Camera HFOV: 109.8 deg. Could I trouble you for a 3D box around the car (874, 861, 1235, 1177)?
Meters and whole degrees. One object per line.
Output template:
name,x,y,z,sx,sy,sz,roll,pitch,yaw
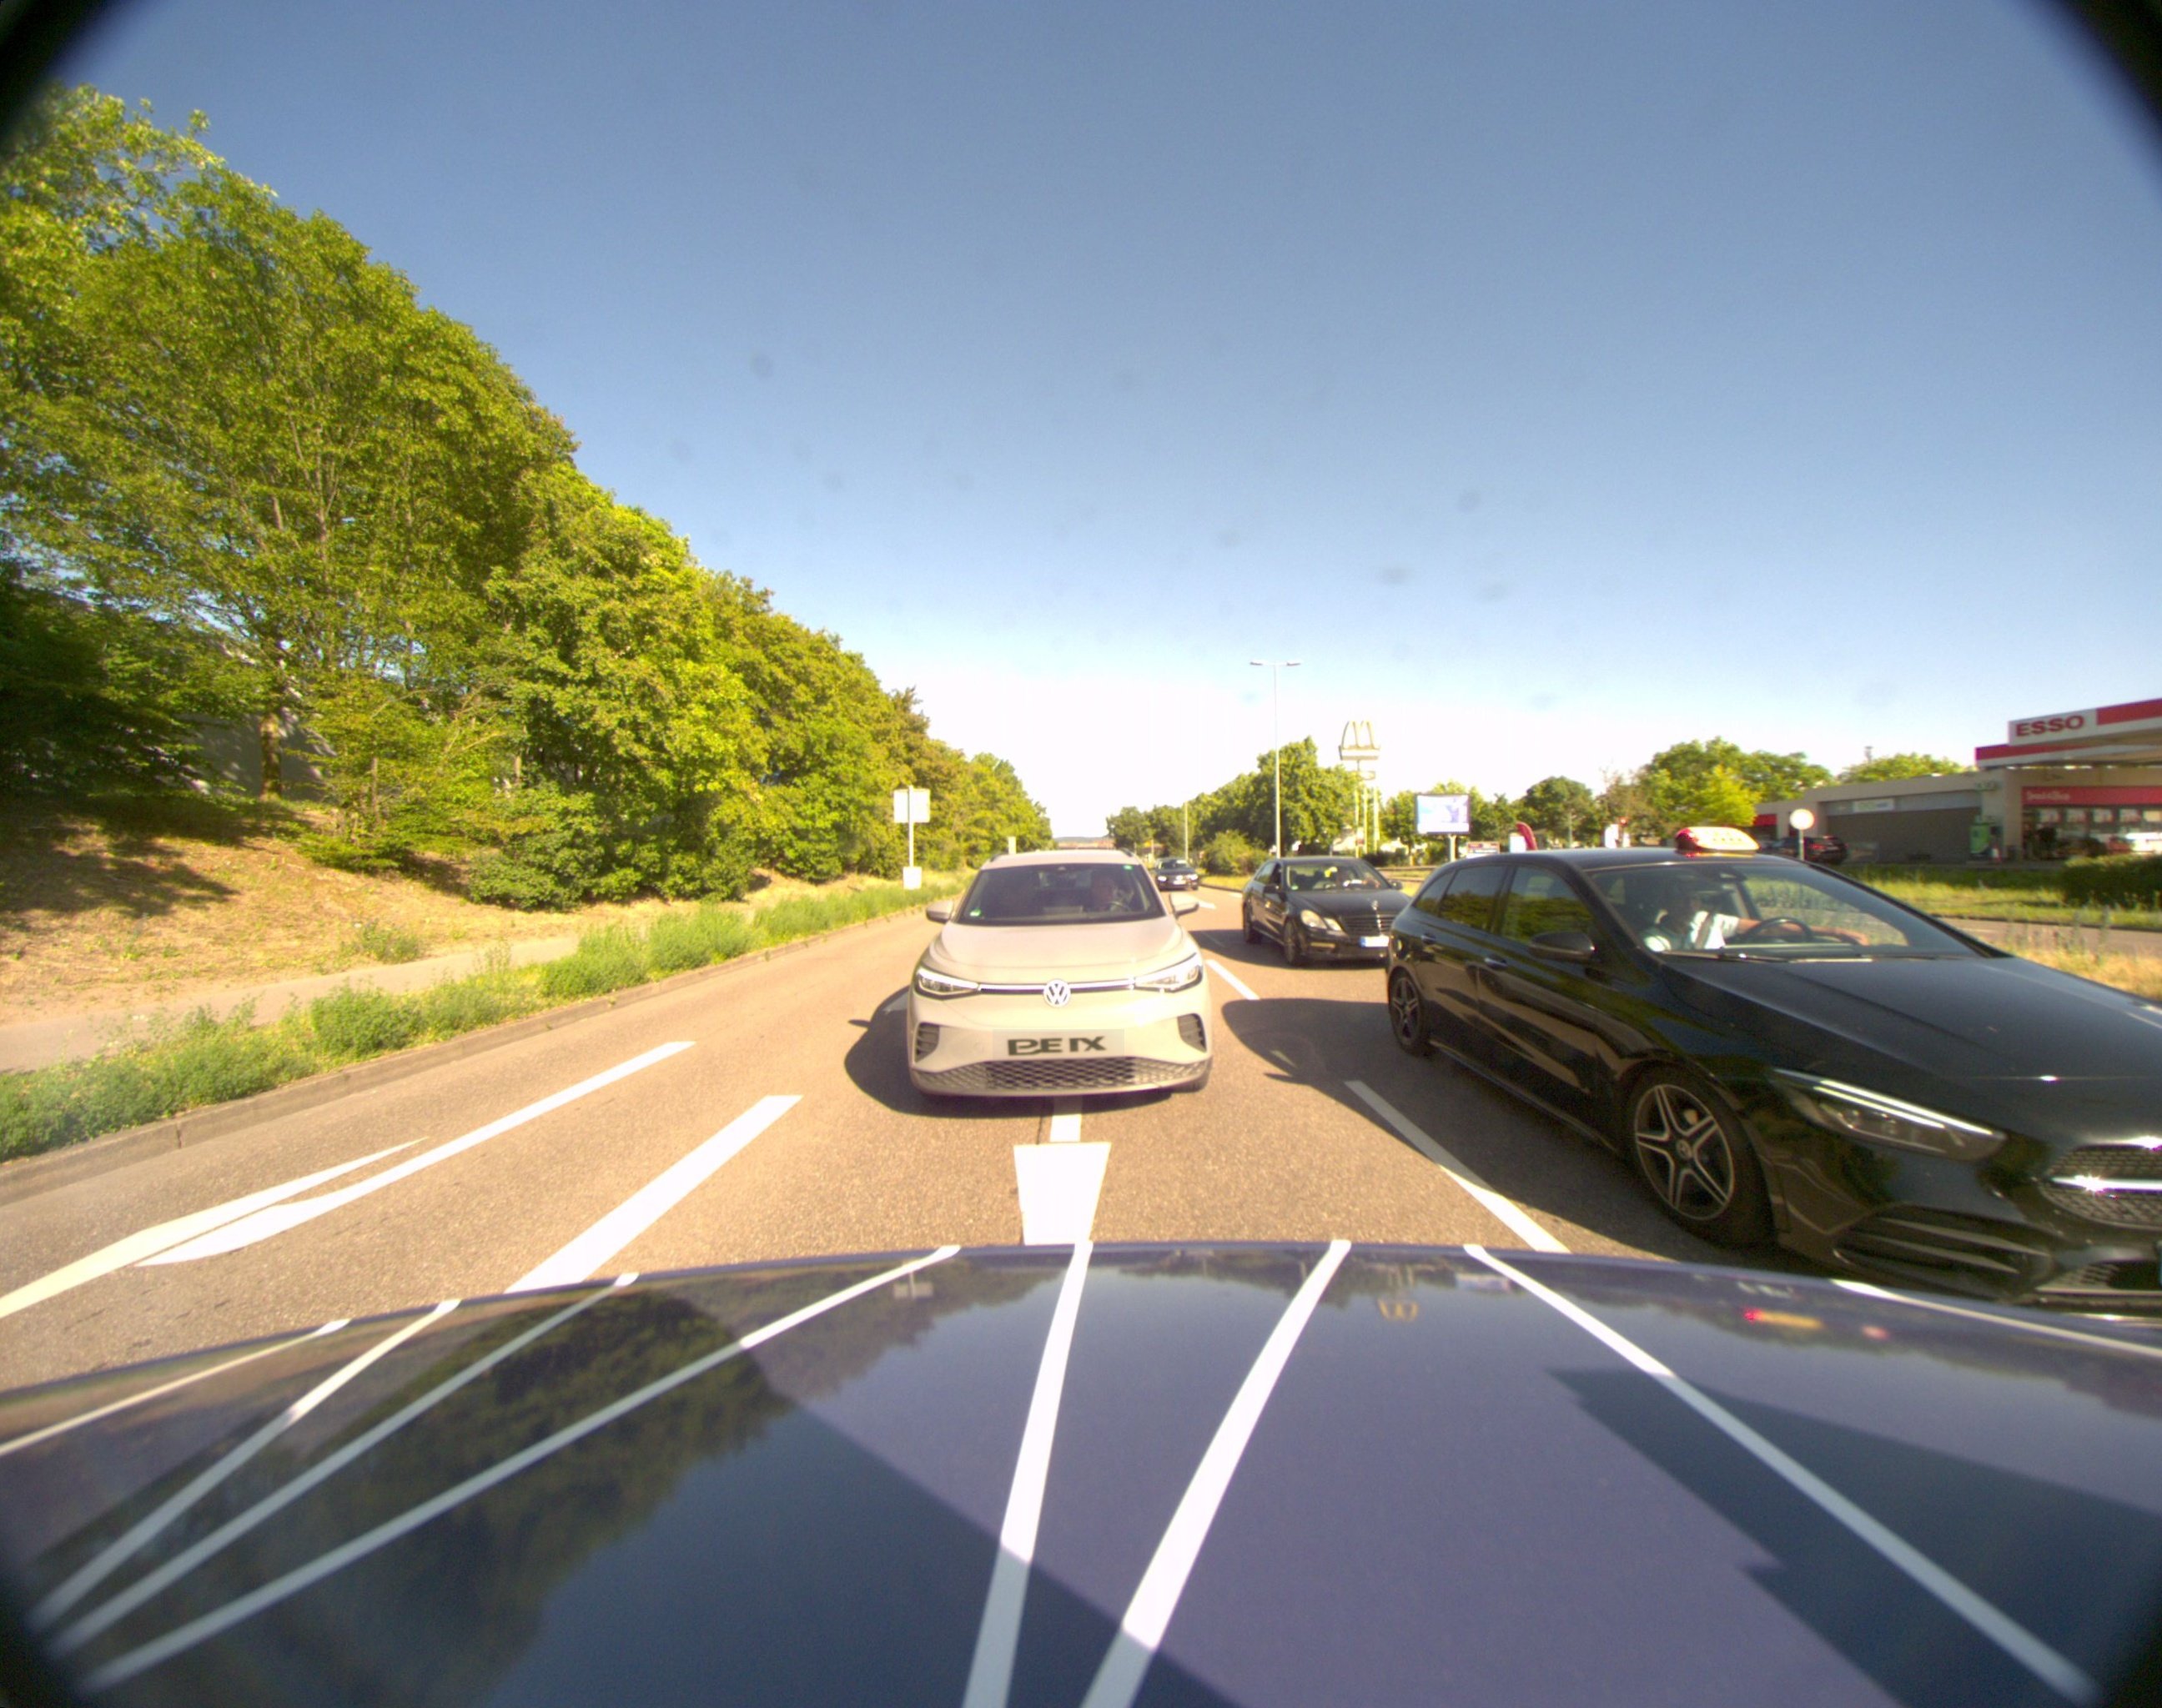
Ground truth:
car,-0.114,0.897,5.994,1.871,1.588,3.932,-2,0,1

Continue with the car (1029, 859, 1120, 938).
car,-0.109,0.897,16.969,1.765,1.503,3.760,-2,0,1

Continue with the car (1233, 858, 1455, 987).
car,3.650,0.848,11.465,1.862,1.515,4.403,-1,0,1

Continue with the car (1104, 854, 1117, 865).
car,4.479,0.757,115.262,1.862,1.578,4.403,-1,0,1

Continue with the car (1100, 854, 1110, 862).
car,4.598,0.712,145.972,1.862,1.578,4.403,-1,0,1

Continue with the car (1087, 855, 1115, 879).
car,1.657,1.064,64.949,2.289,1.863,5.268,-1,0,1

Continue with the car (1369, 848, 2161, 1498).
car,3.168,0.807,3.992,1.804,1.616,4.188,-1,0,2

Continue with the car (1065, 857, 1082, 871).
car,-0.844,1.160,88.991,1.862,1.578,4.403,-1,0,1

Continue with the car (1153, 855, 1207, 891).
car,4.372,0.821,34.115,1.862,1.472,4.403,-1,0,1

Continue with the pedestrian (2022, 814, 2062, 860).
pedestrian,42.601,-0.746,33.682,0.703,2.002,0.840,-1,0,1

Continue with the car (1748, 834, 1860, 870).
car,37.645,-0.097,39.725,1.998,1.759,4.118,-1,0,2
